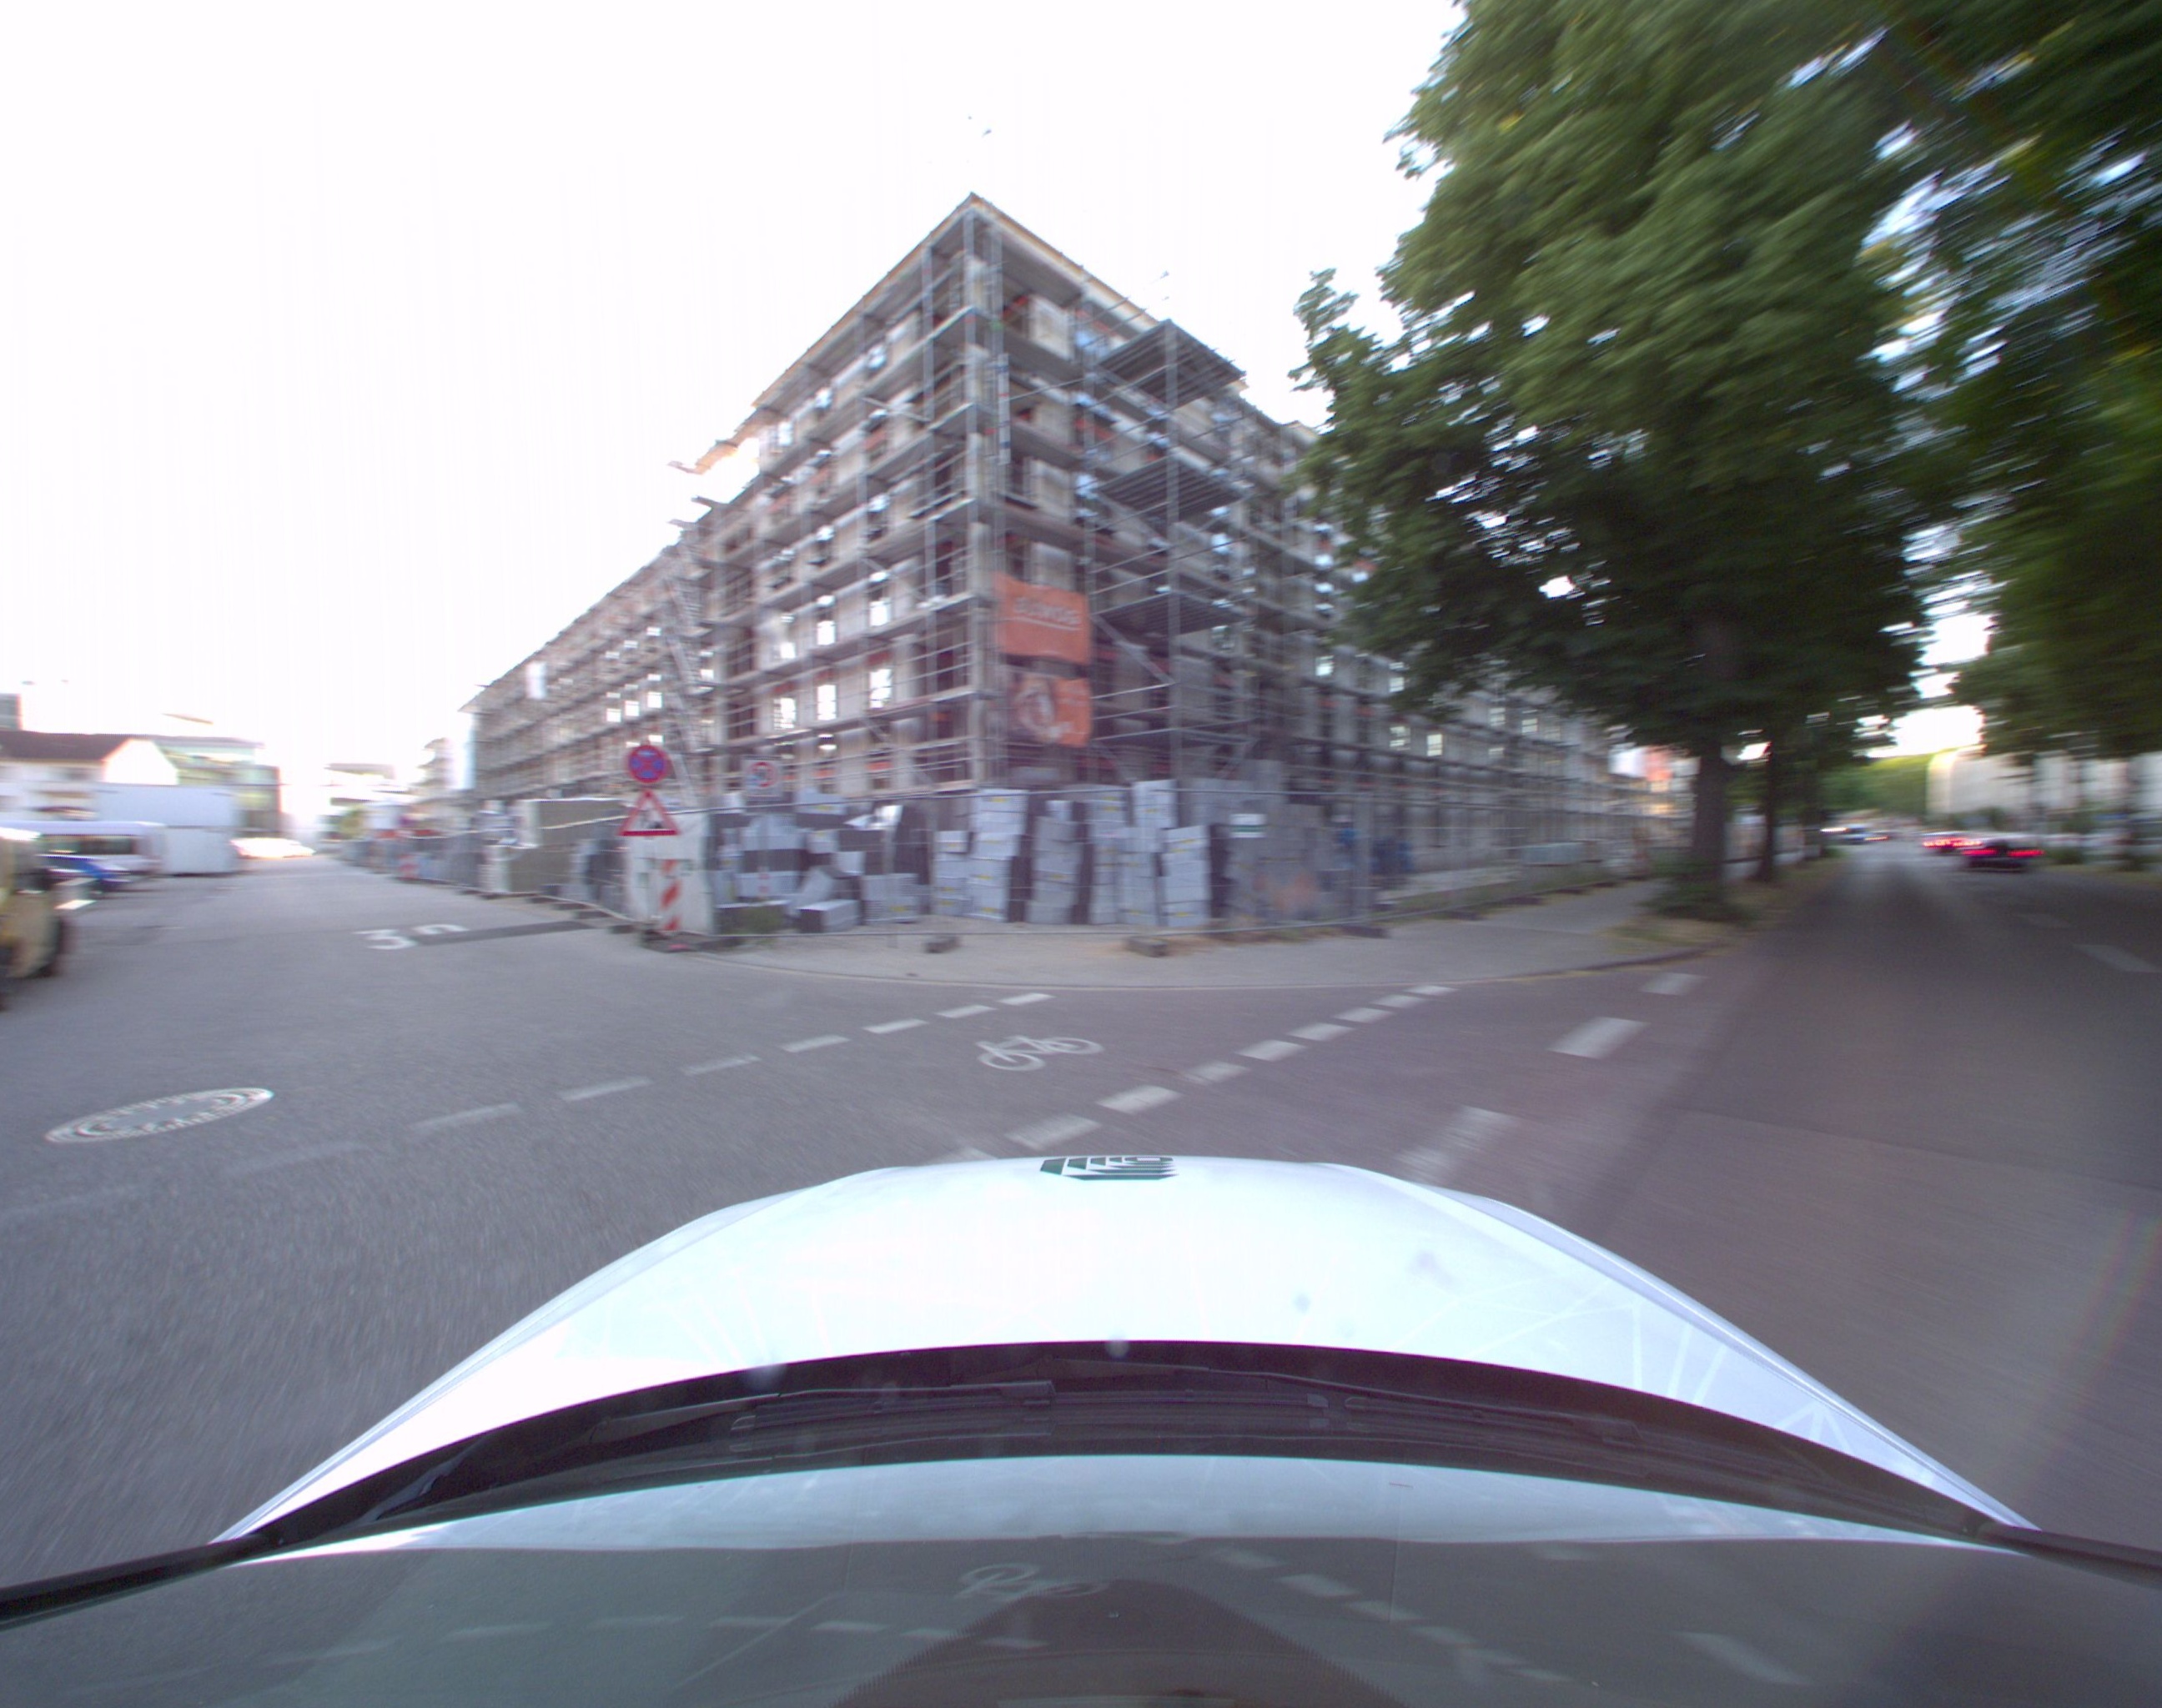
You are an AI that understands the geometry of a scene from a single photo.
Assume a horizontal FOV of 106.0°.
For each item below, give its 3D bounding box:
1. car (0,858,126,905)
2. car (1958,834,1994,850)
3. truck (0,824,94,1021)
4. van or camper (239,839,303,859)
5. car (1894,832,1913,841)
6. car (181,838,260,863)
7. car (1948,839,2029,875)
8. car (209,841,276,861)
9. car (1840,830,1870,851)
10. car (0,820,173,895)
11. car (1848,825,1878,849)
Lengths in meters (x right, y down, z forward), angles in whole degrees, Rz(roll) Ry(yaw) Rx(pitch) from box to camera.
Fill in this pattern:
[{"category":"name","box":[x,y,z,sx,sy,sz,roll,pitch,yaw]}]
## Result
[{"category":"car","box":[-33.431,0.853,25.907,1.706,1.429,3.872,0,0,43]},{"category":"car","box":[77.736,-1.035,70.759,4.023,1.326,1.930,-2,3,-44]},{"category":"truck","box":[-13.190,0.672,9.205,5.591,1.913,2.053,0,0,45]},{"category":"van or camper","box":[-120.418,-0.747,121.134,6.376,2.978,2.269,-1,0,-33]},{"category":"car","box":[126.452,-2.699,125.221,1.929,1.326,4.024,3,3,44]},{"category":"car","box":[-103.010,-0.462,97.635,6.386,2.740,1.975,-2,2,-44]},{"category":"car","box":[37.320,0.088,33.582,1.929,1.326,4.024,3,3,44]},{"category":"car","box":[-112.868,-0.462,109.700,5.966,2.490,1.979,-2,1,-34]},{"category":"car","box":[82.802,-1.474,87.099,2.315,2.197,5.340,0,1,44]},{"category":"car","box":[-37.794,0.130,29.920,5.739,2.626,2.195,0,0,-43]},{"category":"car","box":[91.598,-1.949,95.437,2.469,2.696,5.865,0,1,44]}]
